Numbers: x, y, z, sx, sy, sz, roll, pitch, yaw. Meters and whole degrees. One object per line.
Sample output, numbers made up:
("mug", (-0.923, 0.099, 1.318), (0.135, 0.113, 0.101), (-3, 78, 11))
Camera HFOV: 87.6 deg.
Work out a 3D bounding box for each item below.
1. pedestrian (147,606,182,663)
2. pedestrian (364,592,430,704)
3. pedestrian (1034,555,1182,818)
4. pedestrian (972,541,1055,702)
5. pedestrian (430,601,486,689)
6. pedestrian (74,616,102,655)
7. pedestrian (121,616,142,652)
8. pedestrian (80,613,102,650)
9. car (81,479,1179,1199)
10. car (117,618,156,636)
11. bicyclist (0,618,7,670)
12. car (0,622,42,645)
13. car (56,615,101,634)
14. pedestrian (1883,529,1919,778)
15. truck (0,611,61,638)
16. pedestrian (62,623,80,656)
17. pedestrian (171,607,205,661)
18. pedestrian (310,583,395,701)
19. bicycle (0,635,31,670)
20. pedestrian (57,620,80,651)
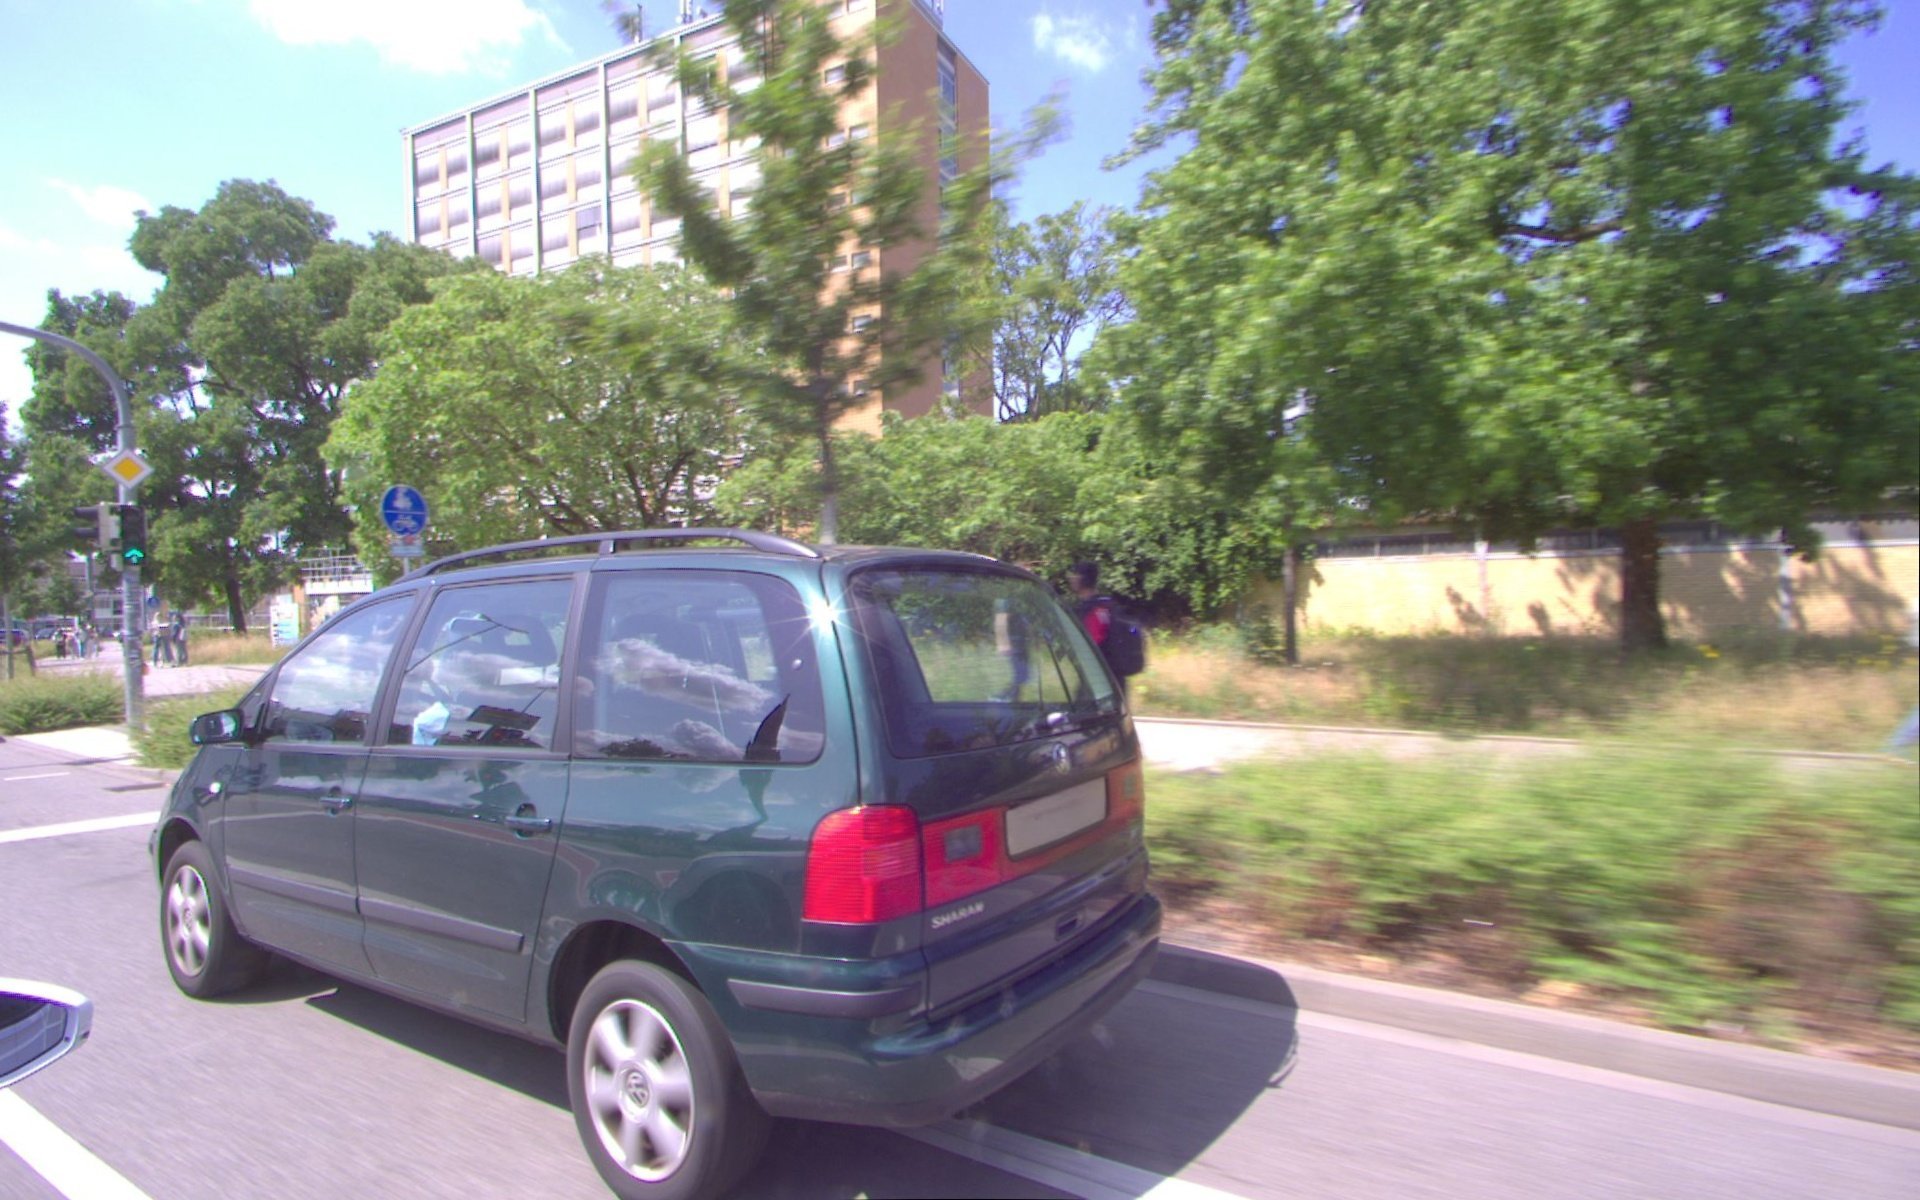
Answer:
("pedestrian", (-26.376, 1.140, 33.208), (0.602, 1.827, 0.746), (0, 2, 38))
("pedestrian", (-9.227, 0.769, 16.429), (0.600, 1.770, 0.666), (-1, 2, 26))
("pedestrian", (1.075, 0.582, 7.230), (0.835, 1.773, 0.665), (0, 2, 31))
("pedestrian", (0.622, 0.239, 11.528), (0.657, 1.773, 0.747), (0, 2, 31))
("pedestrian", (-9.574, 0.844, 19.099), (0.638, 1.618, 0.665), (0, 2, 31))
("pedestrian", (-42.630, 1.718, 48.958), (0.769, 1.846, 0.753), (-1, 3, 34))
("pedestrian", (-43.048, 1.749, 52.047), (0.666, 1.844, 0.752), (-2, -2, 41))
("pedestrian", (-44.373, 1.604, 51.142), (0.631, 1.844, 0.752), (-2, -2, 40))
("car", (-1.542, 0.692, 3.978), (4.385, 1.745, 1.791), (-1, -2, 33))
("car", (-81.374, 2.636, 99.020), (1.856, 1.663, 3.944), (-1, 0, -23))
("bicyclist", (-30.791, 1.412, 31.652), (0.573, 1.623, 0.824), (-2, 2, 38))
("car", (-71.696, 2.534, 76.284), (1.861, 1.663, 3.935), (0, 0, -31))
("car", (-79.398, 2.186, 90.233), (1.856, 1.663, 3.944), (-1, 0, -23))
("pedestrian", (7.330, 0.372, 7.220), (0.865, 1.773, 0.665), (0, 2, 31))
("truck", (-107.265, 2.788, 114.603), (2.843, 2.889, 8.779), (-1, 0, -15))
("pedestrian", (-44.935, 1.983, 50.613), (0.719, 1.646, 0.584), (-2, -2, 40))
("pedestrian", (-26.332, 1.144, 34.170), (0.602, 1.776, 0.746), (0, 2, 38))
("pedestrian", (-9.563, 0.644, 15.770), (0.867, 1.802, 0.749), (-1, 2, 26))
("bicycle", (-30.737, 1.703, 31.709), (0.585, 1.064, 1.801), (-2, 1, 38))
("pedestrian", (-47.771, 1.894, 53.634), (0.751, 1.610, 0.754), (-2, -2, 34))
